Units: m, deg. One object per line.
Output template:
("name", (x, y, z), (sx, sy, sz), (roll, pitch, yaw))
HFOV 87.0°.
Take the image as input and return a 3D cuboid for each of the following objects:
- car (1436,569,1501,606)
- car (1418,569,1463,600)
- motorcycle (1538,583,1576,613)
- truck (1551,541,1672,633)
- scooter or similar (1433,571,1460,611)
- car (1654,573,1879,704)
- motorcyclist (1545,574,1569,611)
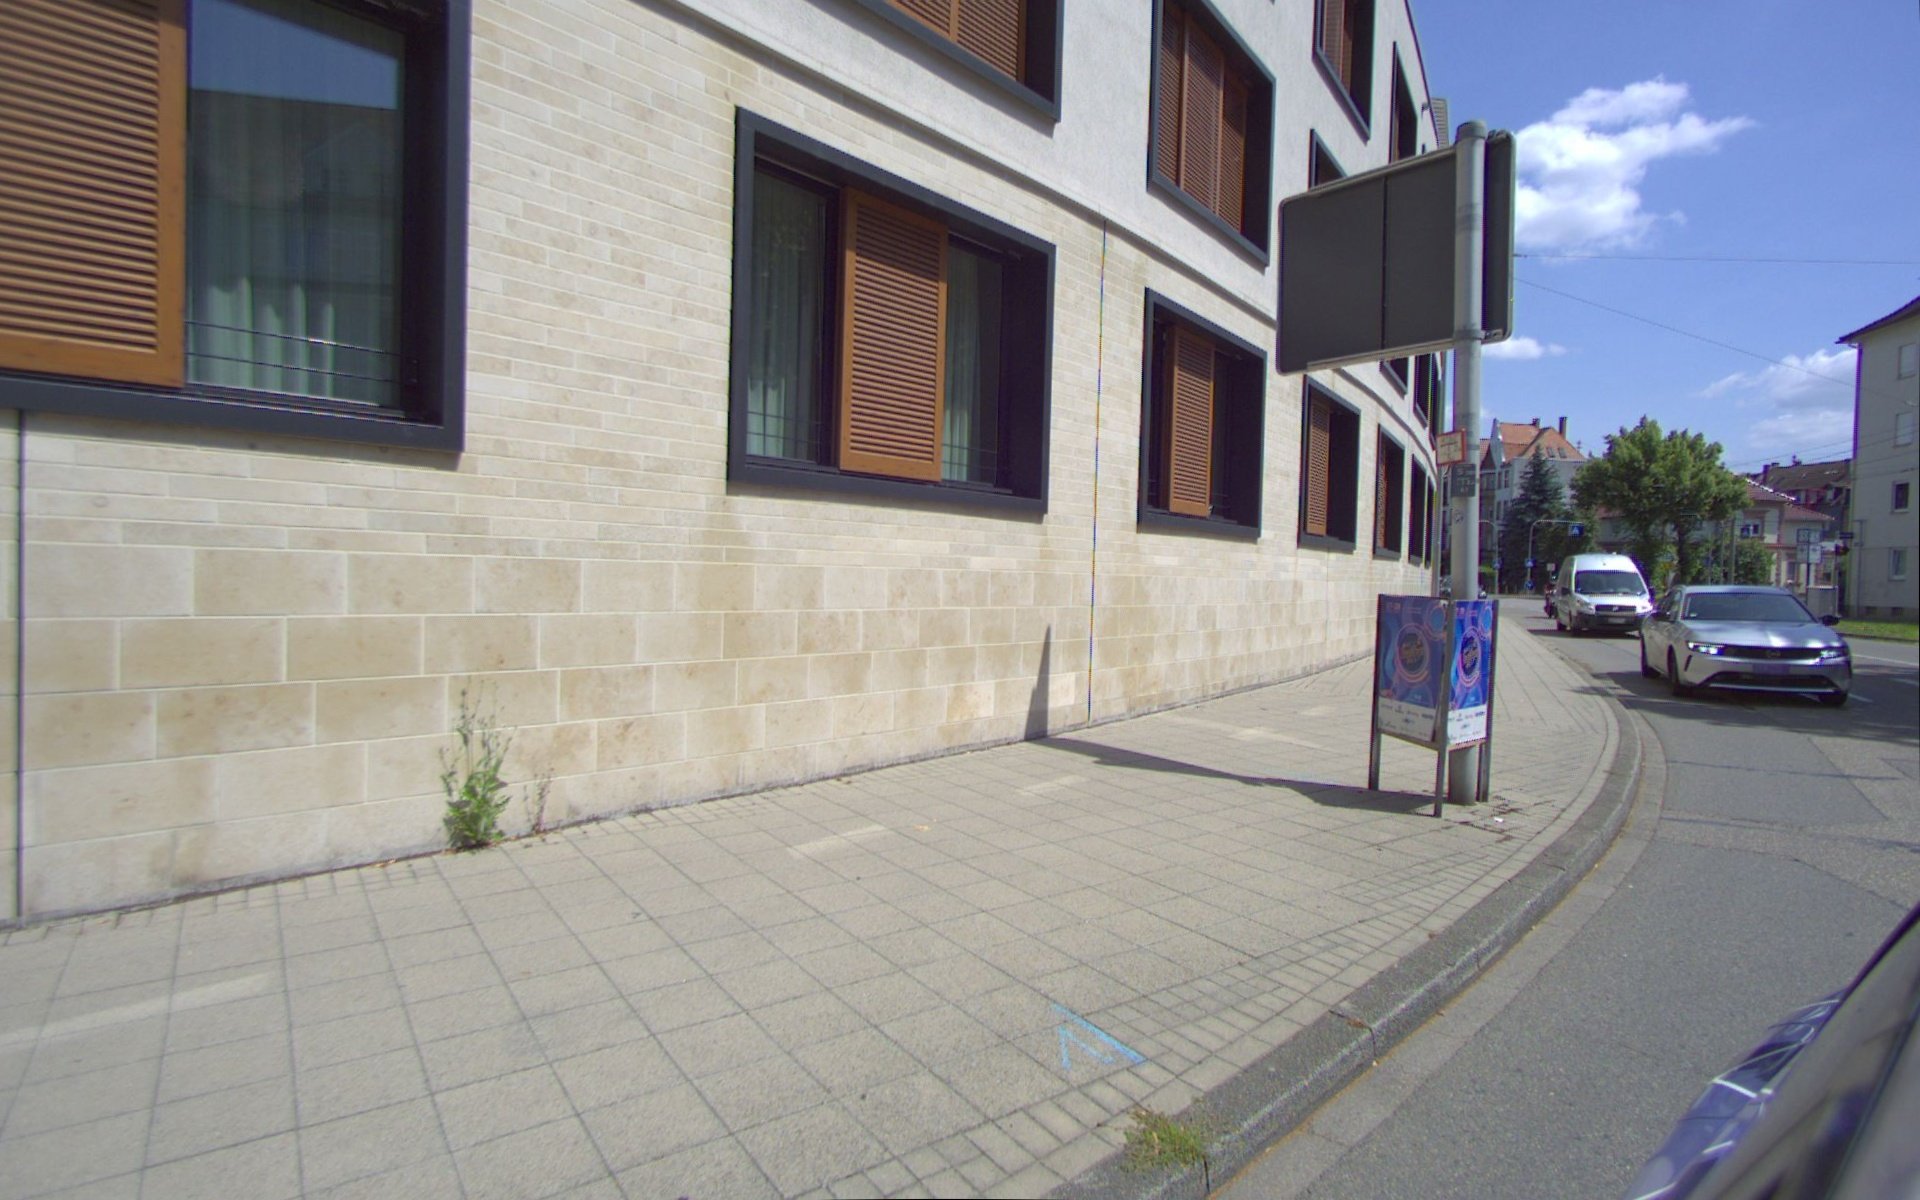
("car", (24.215, -0.650, 48.383), (1.781, 1.527, 4.527), (5, 3, 15))
("car", (26.173, -0.887, 55.252), (1.577, 1.450, 3.687), (5, 3, 17))
("motorcycle", (22.553, -0.085, 38.214), (1.050, 1.093, 2.585), (0, 1, 34))
("truck", (17.886, -0.416, 28.063), (1.999, 2.277, 5.364), (0, 2, 24))
("scooter or similar", (16.467, -0.321, 34.275), (0.576, 1.276, 1.360), (4, 2, 18))
("car", (10.768, 0.391, 13.820), (1.787, 1.484, 4.128), (0, 2, 30))
("motorcyclist", (22.376, -0.287, 37.922), (0.730, 1.354, 1.156), (0, 0, 34))
